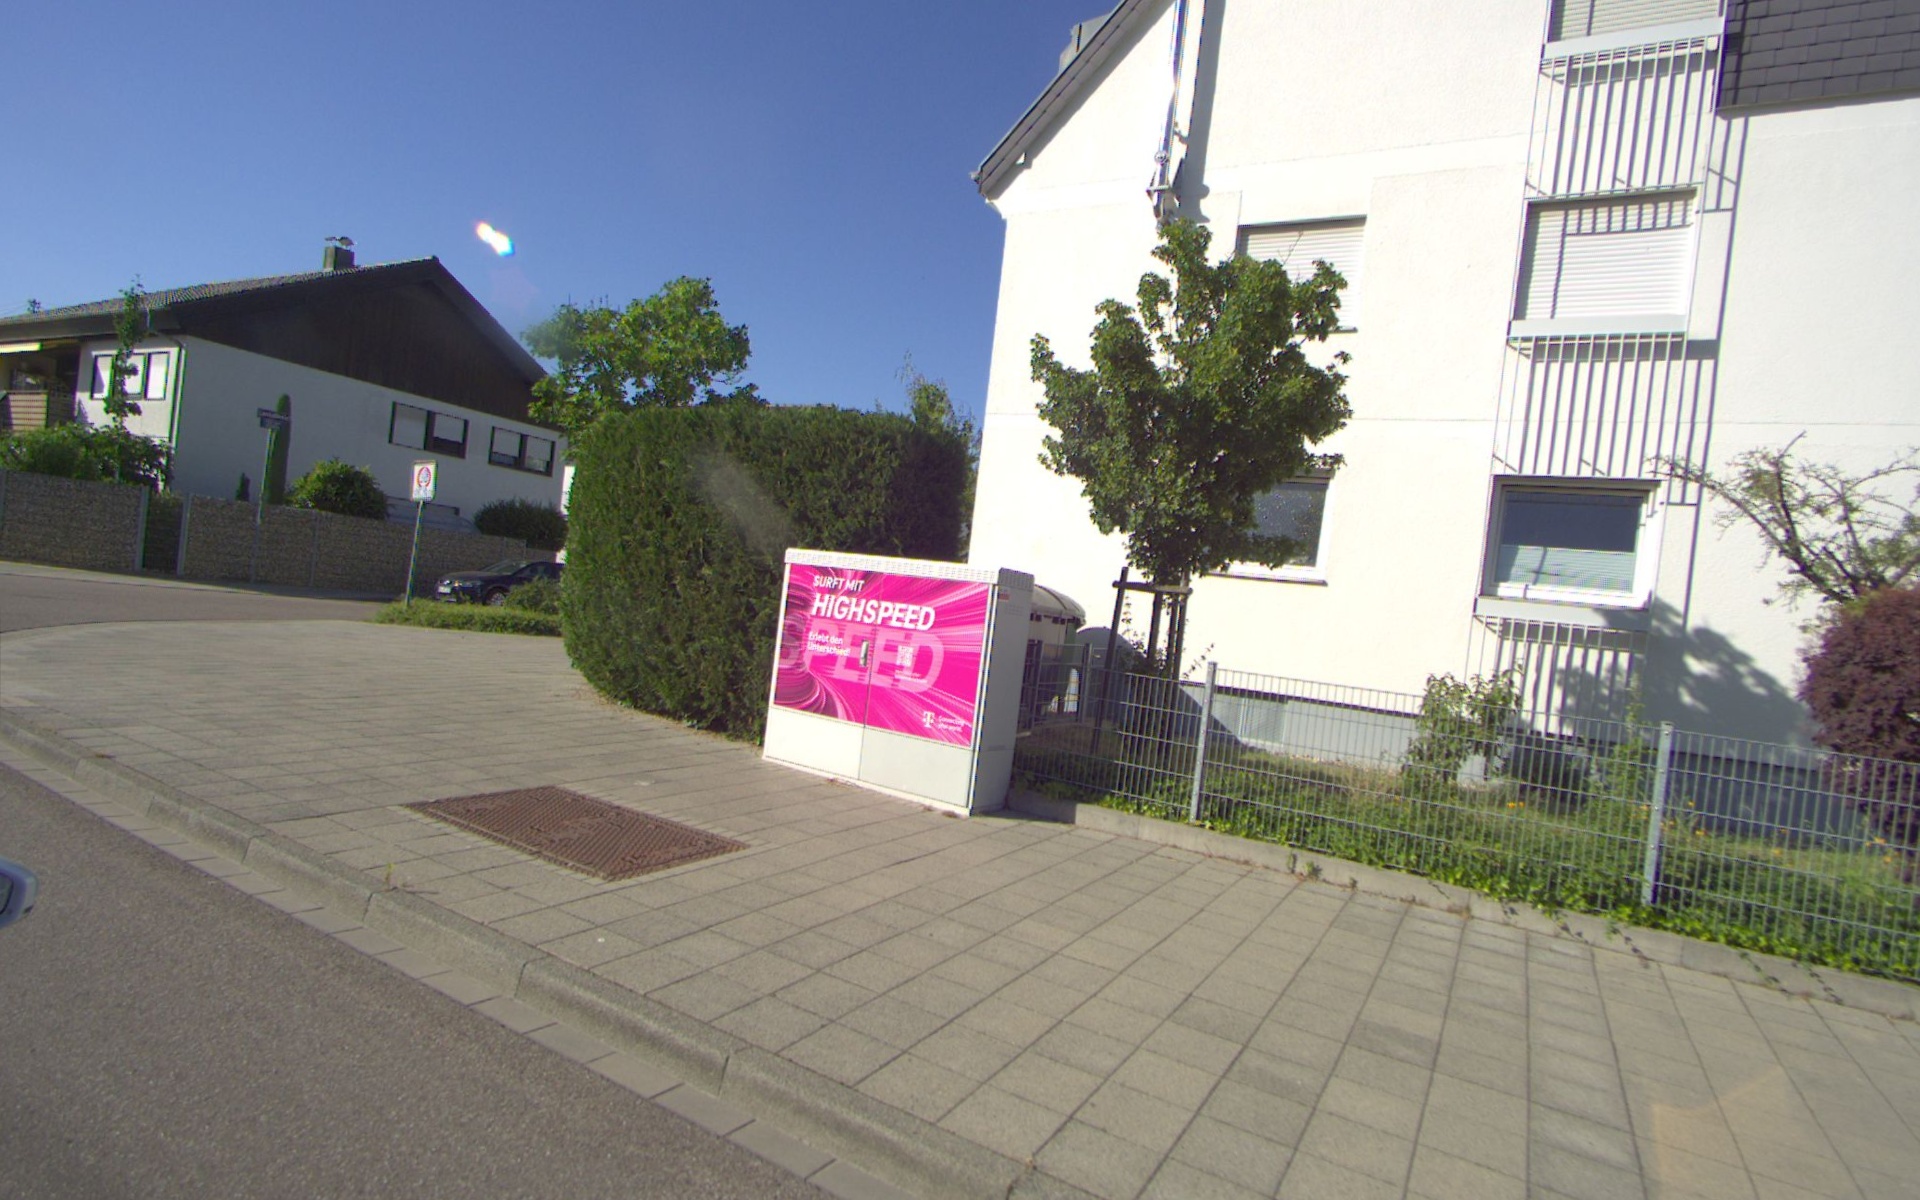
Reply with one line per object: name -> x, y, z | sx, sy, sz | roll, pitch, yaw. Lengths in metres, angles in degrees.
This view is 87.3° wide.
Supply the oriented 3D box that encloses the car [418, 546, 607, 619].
car -> -11.369, -0.407, 25.801 | 1.826, 1.390, 3.990 | 7, 0, 33
